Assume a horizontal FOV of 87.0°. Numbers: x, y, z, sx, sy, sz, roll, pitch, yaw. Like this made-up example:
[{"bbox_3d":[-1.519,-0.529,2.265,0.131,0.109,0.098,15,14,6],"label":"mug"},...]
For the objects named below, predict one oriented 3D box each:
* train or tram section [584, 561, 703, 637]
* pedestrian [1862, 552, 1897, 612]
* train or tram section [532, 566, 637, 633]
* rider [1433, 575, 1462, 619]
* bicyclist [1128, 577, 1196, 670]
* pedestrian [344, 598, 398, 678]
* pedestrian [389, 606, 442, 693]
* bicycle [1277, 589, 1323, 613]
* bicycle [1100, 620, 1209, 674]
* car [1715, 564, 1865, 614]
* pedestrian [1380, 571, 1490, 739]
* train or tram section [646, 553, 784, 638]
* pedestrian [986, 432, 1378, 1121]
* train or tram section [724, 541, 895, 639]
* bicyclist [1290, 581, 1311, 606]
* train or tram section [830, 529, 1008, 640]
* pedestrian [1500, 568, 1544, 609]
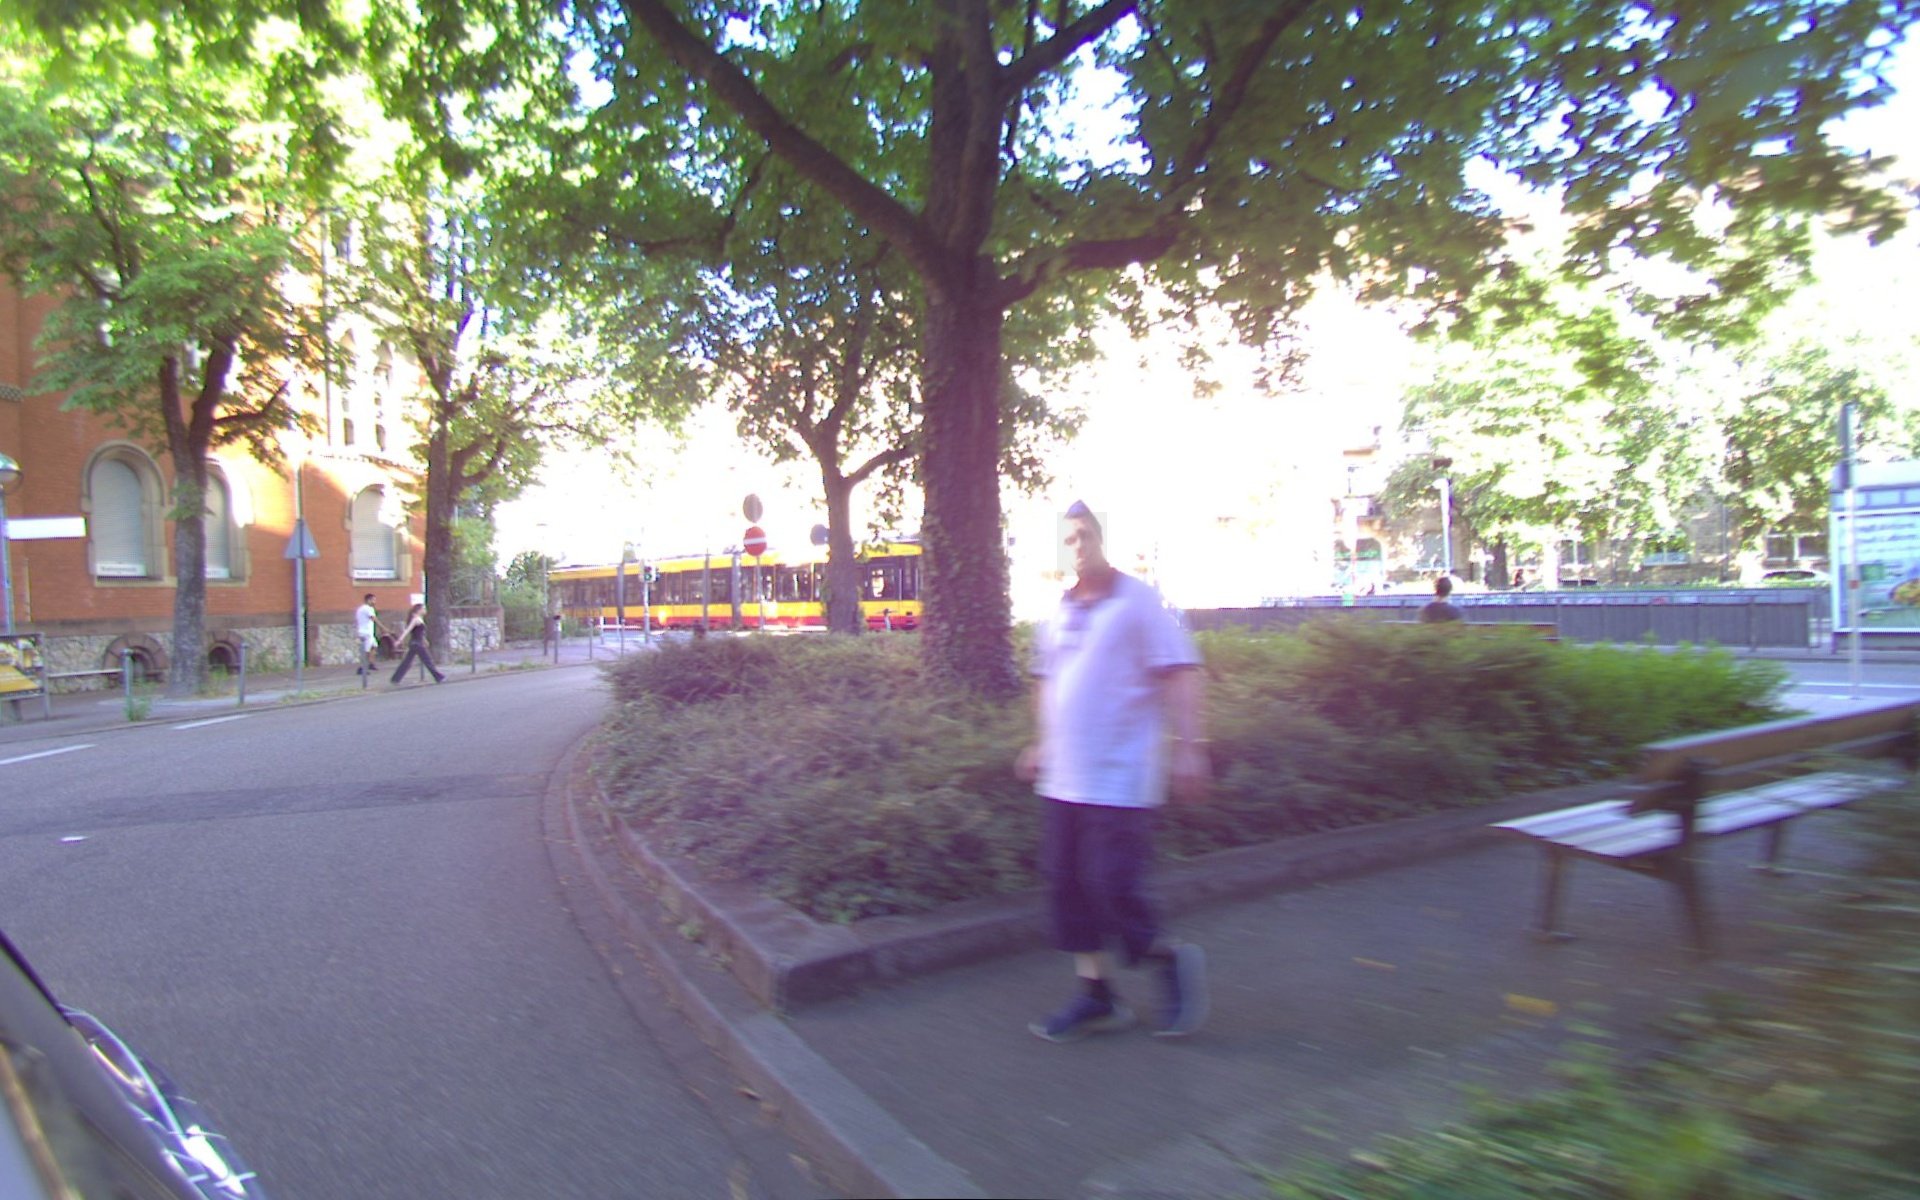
[{"bbox_3d":[-16.479,-0.078,52.329,2.895,3.617,7.195,-3,2,-44],"label":"train or tram section"},{"bbox_3d":[26.564,-0.524,29.236,0.661,1.707,0.705,-3,3,-44],"label":"pedestrian"},{"bbox_3d":[-21.447,-0.049,57.597,2.929,3.533,7.195,-3,2,-44],"label":"train or tram section"},{"bbox_3d":[19.368,-0.118,40.229,0.659,1.694,0.824,-1,2,-12],"label":"rider"},{"bbox_3d":[3.888,0.447,19.515,0.685,1.729,1.048,-2,0,-43],"label":"bicyclist"},{"bbox_3d":[-12.700,0.806,21.823,0.847,1.655,0.871,-2,0,-39],"label":"pedestrian"},{"bbox_3d":[-10.558,0.948,19.613,0.840,1.617,0.603,-2,0,-30],"label":"pedestrian"},{"bbox_3d":[14.402,0.047,42.863,1.721,0.953,0.653,-2,0,6],"label":"bicycle"},{"bbox_3d":[3.741,0.891,19.574,0.759,0.965,1.984,-2,0,-43],"label":"bicycle"},{"bbox_3d":[31.060,-0.410,38.018,3.926,1.692,1.938,-2,0,25],"label":"car"},{"bbox_3d":[5.029,0.567,10.776,0.811,1.696,0.896,-2,0,12],"label":"pedestrian"},{"bbox_3d":[-11.514,-0.156,47.113,2.891,3.626,7.195,-3,1,-44],"label":"train or tram section"},{"bbox_3d":[0.591,0.425,3.027,0.767,1.696,0.921,-2,0,-12],"label":"pedestrian"},{"bbox_3d":[-6.345,-0.331,41.662,2.878,3.641,7.866,-2,0,-44],"label":"train or tram section"},{"bbox_3d":[14.420,-0.277,42.859,0.668,1.062,0.611,-2,0,5],"label":"bicyclist"},{"bbox_3d":[-1.600,-0.491,36.721,2.879,3.668,6.352,-2,0,-44],"label":"train or tram section"},{"bbox_3d":[26.990,-0.542,48.657,1.479,1.926,1.255,-2,0,13],"label":"pedestrian"}]
